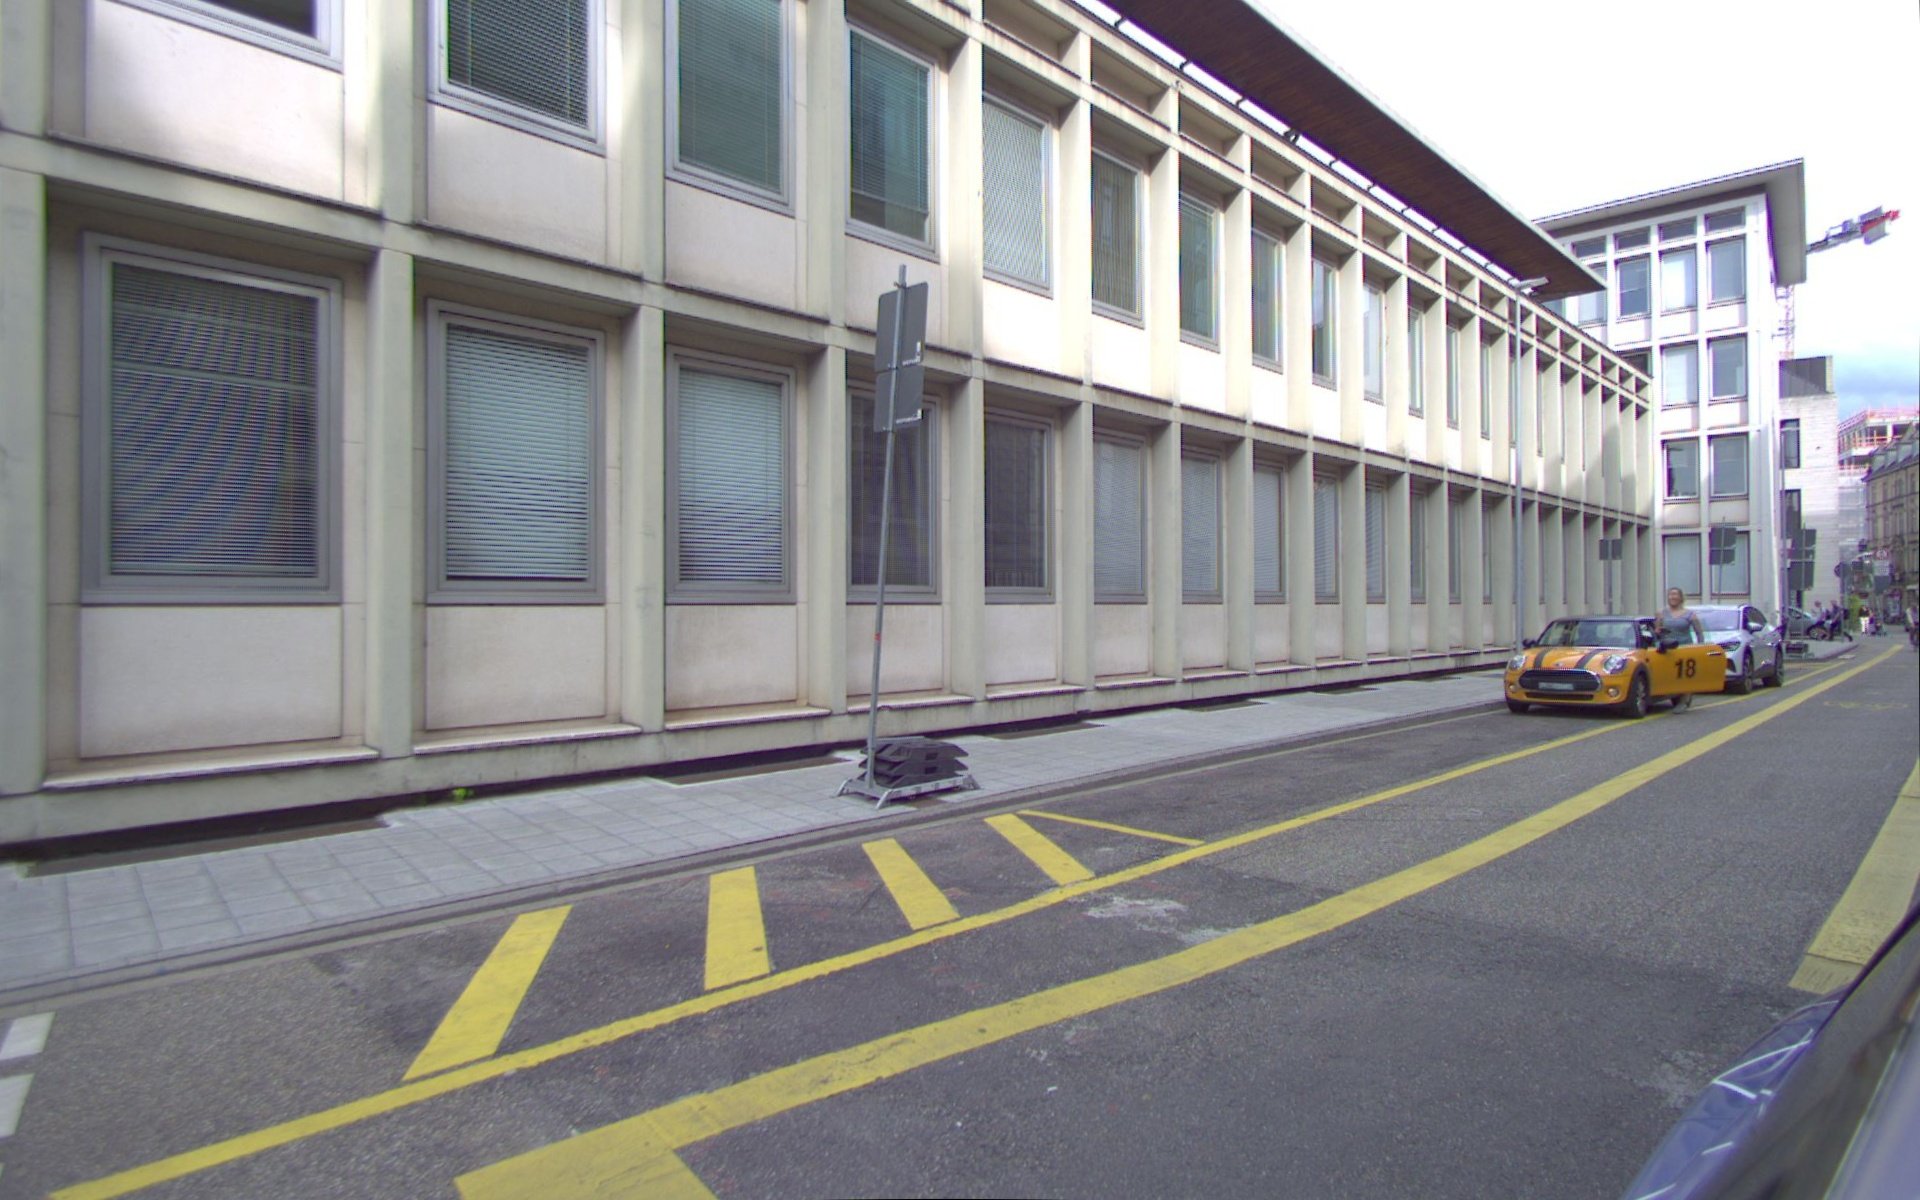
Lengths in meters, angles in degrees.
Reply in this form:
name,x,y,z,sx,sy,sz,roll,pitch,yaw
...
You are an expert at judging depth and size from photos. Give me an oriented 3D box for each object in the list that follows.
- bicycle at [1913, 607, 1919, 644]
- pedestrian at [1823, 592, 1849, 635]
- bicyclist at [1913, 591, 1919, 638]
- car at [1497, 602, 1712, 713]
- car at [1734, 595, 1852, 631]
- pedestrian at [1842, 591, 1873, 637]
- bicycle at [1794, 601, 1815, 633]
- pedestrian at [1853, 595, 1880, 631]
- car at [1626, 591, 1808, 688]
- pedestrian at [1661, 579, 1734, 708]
name,x,y,z,sx,sy,sz,roll,pitch,yaw
bicycle,33.893,0.879,35.320,0.868,1.209,2.818,-1,0,44
pedestrian,37.333,0.573,43.149,0.639,1.788,0.646,-5,-3,34
bicyclist,33.832,0.501,35.271,0.890,1.614,0.863,-1,0,45
car,9.718,0.777,15.152,3.819,1.453,1.682,0,-2,-41
car,39.273,0.584,47.772,4.182,1.610,1.787,0,0,44
pedestrian,37.464,0.587,42.256,0.740,1.838,0.747,-5,-3,34
bicycle,32.032,0.628,38.372,0.588,1.182,1.788,-1,0,40
pedestrian,45.988,0.664,51.365,0.643,1.788,0.642,-4,-3,8
car,14.582,0.713,19.411,4.434,1.626,1.862,-1,-3,-42
pedestrian,10.623,0.602,14.573,0.688,1.786,0.704,0,0,-42
